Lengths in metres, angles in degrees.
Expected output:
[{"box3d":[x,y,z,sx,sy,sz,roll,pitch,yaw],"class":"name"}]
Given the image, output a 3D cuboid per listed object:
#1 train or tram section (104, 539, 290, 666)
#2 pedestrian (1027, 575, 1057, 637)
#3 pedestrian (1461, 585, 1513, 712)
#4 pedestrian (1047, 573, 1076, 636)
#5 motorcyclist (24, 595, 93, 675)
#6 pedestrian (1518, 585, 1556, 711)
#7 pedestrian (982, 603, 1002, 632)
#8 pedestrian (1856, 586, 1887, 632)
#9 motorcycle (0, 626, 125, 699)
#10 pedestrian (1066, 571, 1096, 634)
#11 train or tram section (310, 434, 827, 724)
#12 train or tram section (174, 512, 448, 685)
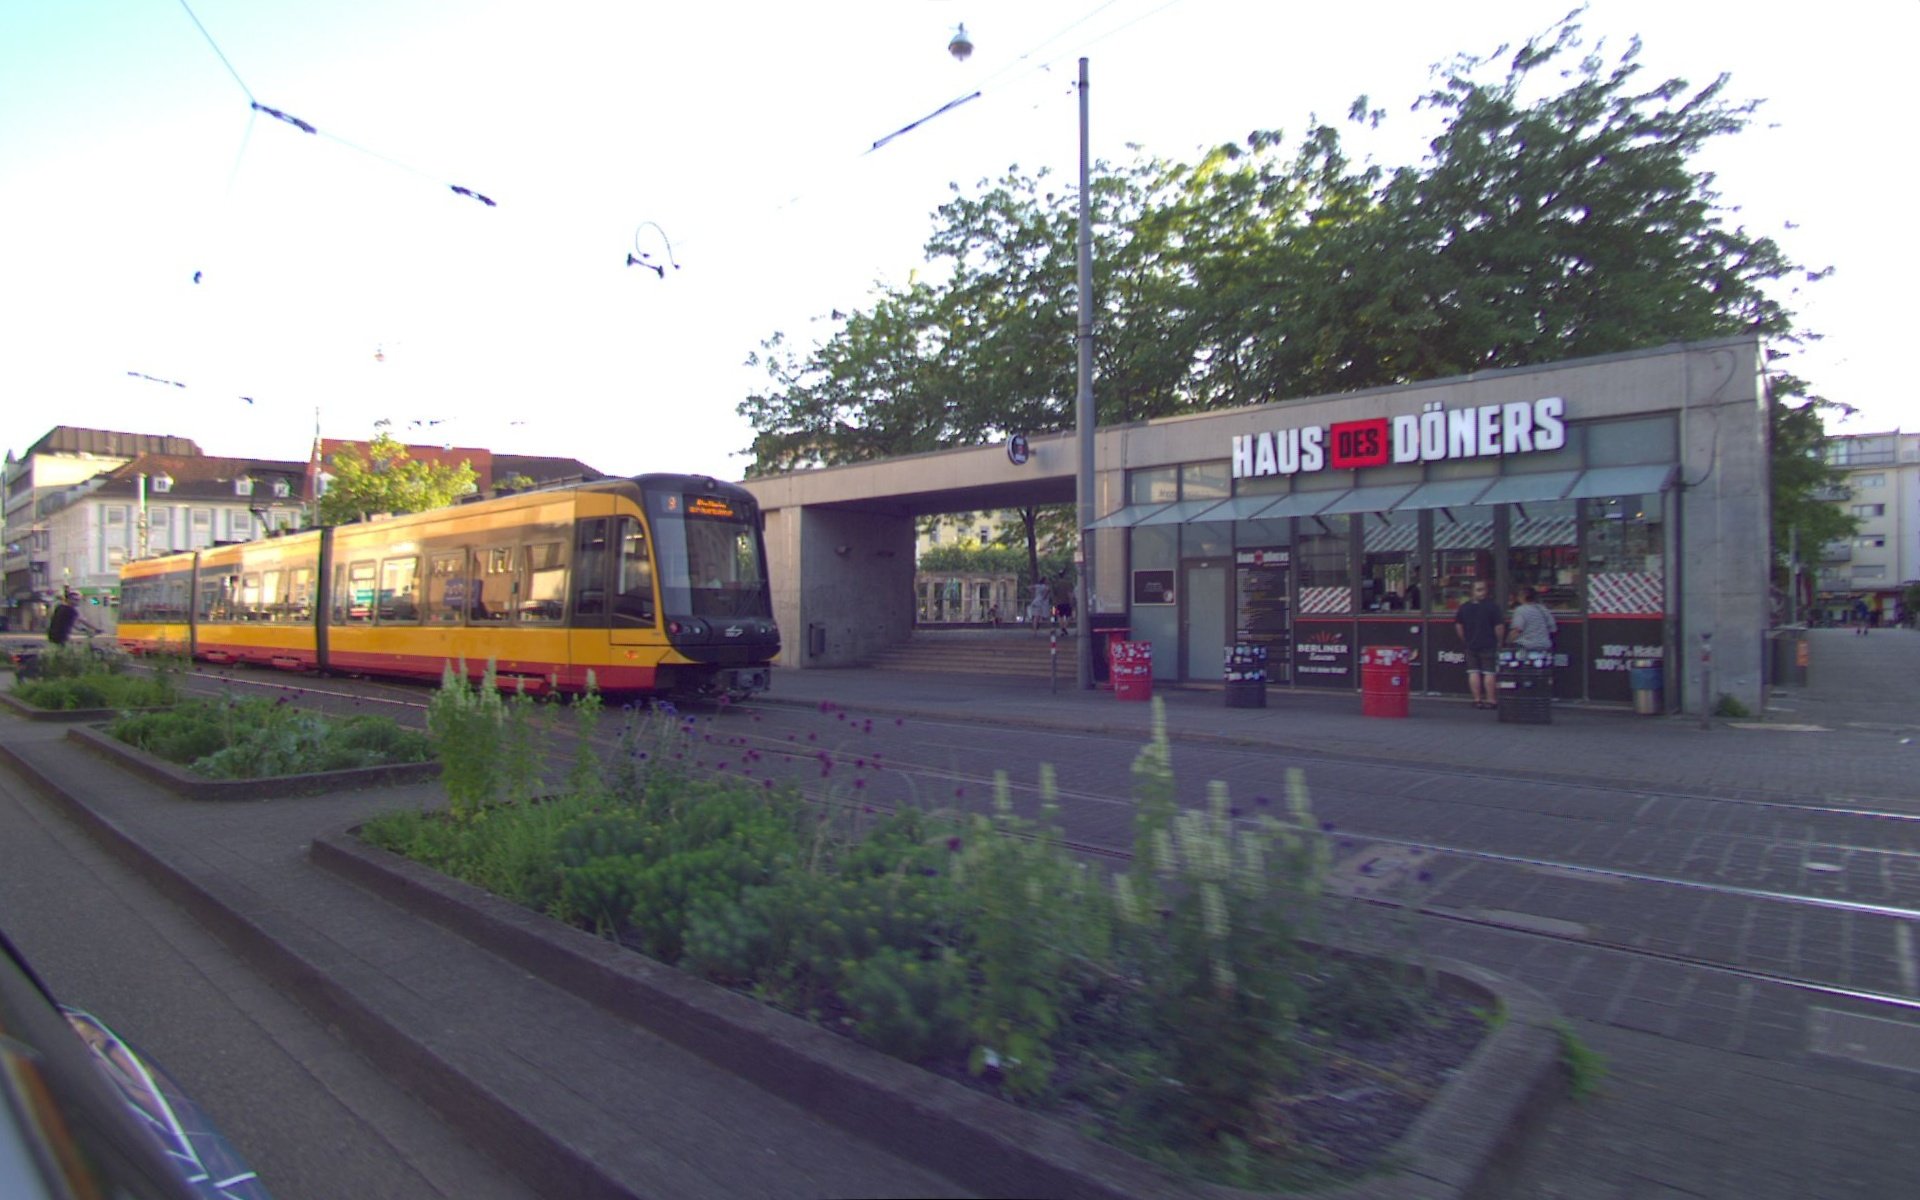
[{"box3d":[-26.015,0.156,34.187,10.779,3.714,2.865,-1,-1,41],"class":"train or tram section"},{"box3d":[2.381,0.182,29.276,0.649,1.749,0.587,-1,-3,38],"class":"pedestrian"},{"box3d":[7.138,0.636,13.702,0.551,1.665,0.556,0,0,35],"class":"pedestrian"},{"box3d":[2.897,0.142,28.881,0.610,1.749,0.587,-1,-3,38],"class":"pedestrian"},{"box3d":[-17.070,0.646,19.166,0.798,1.450,0.791,0,0,33],"class":"motorcyclist"},{"box3d":[7.739,0.630,13.580,0.400,1.665,0.389,0,0,35],"class":"pedestrian"},{"box3d":[1.406,0.770,44.585,0.626,1.267,0.579,-1,-3,38],"class":"pedestrian"},{"box3d":[33.940,0.329,37.694,0.799,1.714,0.789,0,0,40],"class":"pedestrian"},{"box3d":[-17.056,1.149,19.167,0.803,1.247,1.761,0,0,31],"class":"motorcycle"},{"box3d":[3.412,0.074,28.522,0.619,1.749,0.587,-1,-3,38],"class":"pedestrian"},{"box3d":[-8.017,-0.155,18.487,13.473,3.714,2.865,-1,-1,41],"class":"train or tram section"},{"box3d":[-17.544,0.067,26.749,11.976,3.714,2.865,-1,-1,41],"class":"train or tram section"}]
